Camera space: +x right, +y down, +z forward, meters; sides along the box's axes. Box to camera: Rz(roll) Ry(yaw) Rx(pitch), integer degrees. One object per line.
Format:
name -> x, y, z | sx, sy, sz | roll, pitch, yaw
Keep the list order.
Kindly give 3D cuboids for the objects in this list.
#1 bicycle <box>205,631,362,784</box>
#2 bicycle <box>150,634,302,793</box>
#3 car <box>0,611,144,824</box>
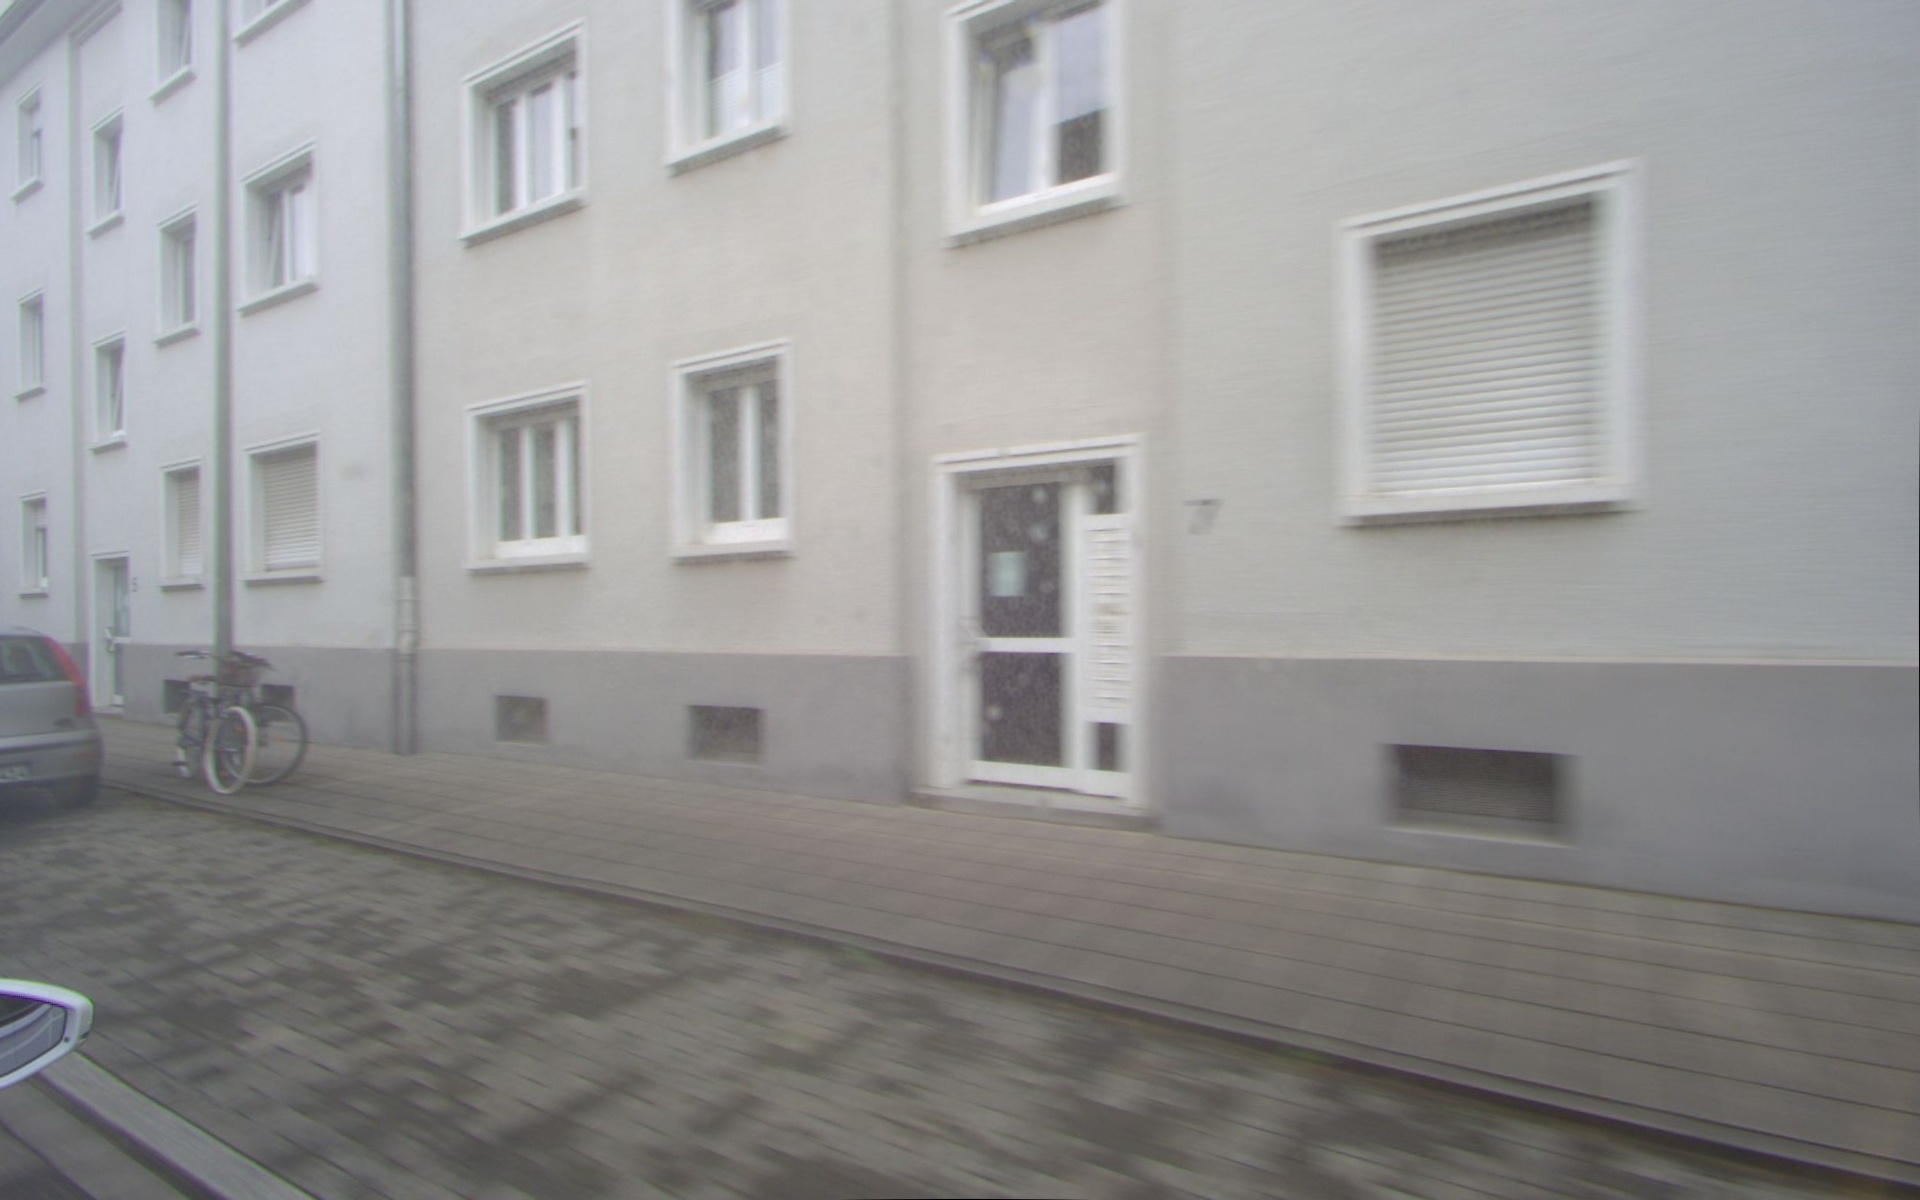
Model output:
bicycle -> -6.070, 0.895, 8.940 | 2.011, 1.191, 0.573 | 0, 1, 39
bicycle -> -6.330, 0.908, 8.593 | 2.011, 1.191, 0.528 | 0, 1, 39
car -> -8.673, 0.878, 8.308 | 4.034, 1.523, 1.816 | -1, 1, 33
